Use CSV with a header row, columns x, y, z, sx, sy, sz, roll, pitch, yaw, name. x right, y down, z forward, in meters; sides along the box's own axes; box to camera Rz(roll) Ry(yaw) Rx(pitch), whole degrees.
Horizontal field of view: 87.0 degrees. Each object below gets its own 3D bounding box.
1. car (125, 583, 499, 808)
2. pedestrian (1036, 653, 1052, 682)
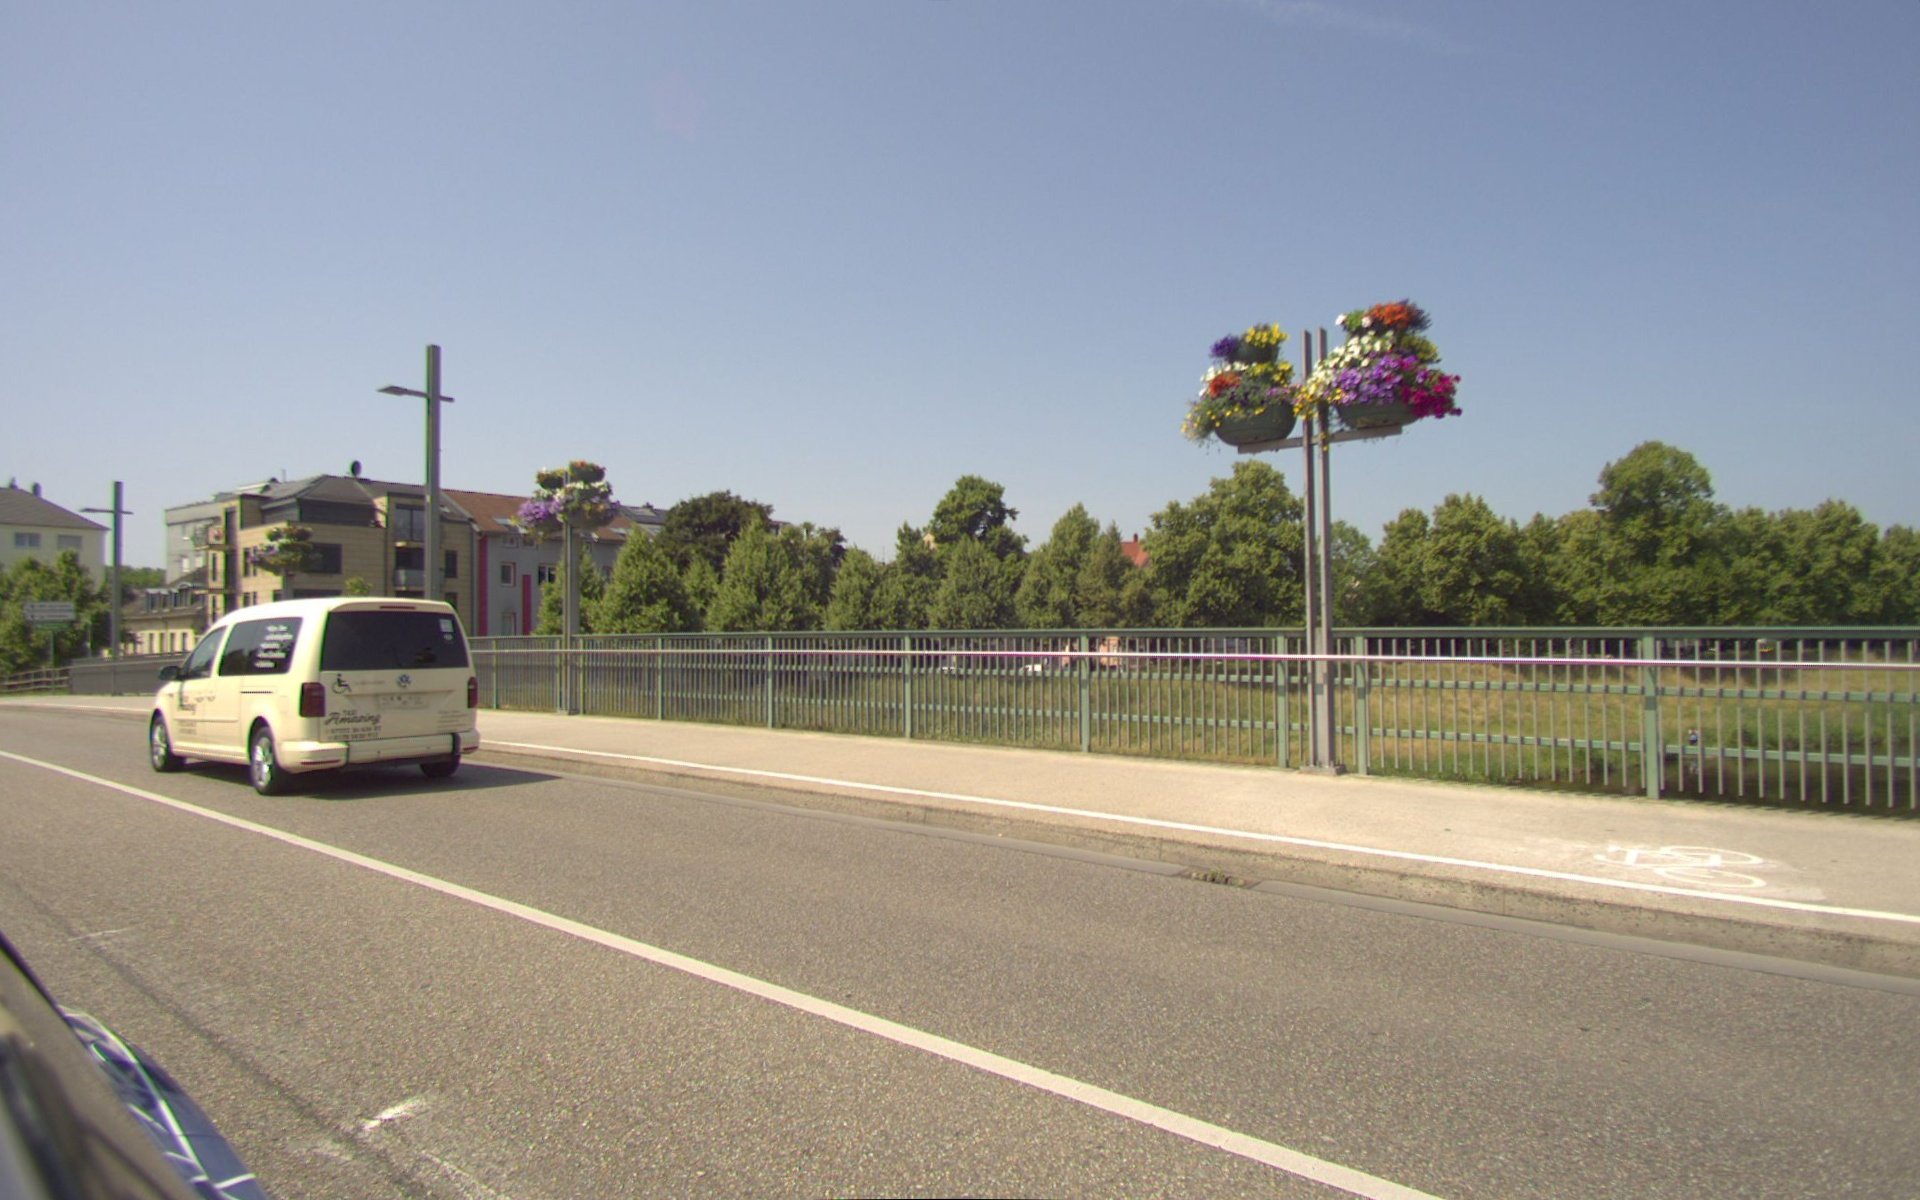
x,y,z,sx,sy,sz,roll,pitch,yaw,name
-6.884,0.887,10.559,4.638,1.872,1.743,-2,-3,37,car
6.101,4.856,73.289,0.881,2.029,0.718,-2,-1,34,pedestrian
